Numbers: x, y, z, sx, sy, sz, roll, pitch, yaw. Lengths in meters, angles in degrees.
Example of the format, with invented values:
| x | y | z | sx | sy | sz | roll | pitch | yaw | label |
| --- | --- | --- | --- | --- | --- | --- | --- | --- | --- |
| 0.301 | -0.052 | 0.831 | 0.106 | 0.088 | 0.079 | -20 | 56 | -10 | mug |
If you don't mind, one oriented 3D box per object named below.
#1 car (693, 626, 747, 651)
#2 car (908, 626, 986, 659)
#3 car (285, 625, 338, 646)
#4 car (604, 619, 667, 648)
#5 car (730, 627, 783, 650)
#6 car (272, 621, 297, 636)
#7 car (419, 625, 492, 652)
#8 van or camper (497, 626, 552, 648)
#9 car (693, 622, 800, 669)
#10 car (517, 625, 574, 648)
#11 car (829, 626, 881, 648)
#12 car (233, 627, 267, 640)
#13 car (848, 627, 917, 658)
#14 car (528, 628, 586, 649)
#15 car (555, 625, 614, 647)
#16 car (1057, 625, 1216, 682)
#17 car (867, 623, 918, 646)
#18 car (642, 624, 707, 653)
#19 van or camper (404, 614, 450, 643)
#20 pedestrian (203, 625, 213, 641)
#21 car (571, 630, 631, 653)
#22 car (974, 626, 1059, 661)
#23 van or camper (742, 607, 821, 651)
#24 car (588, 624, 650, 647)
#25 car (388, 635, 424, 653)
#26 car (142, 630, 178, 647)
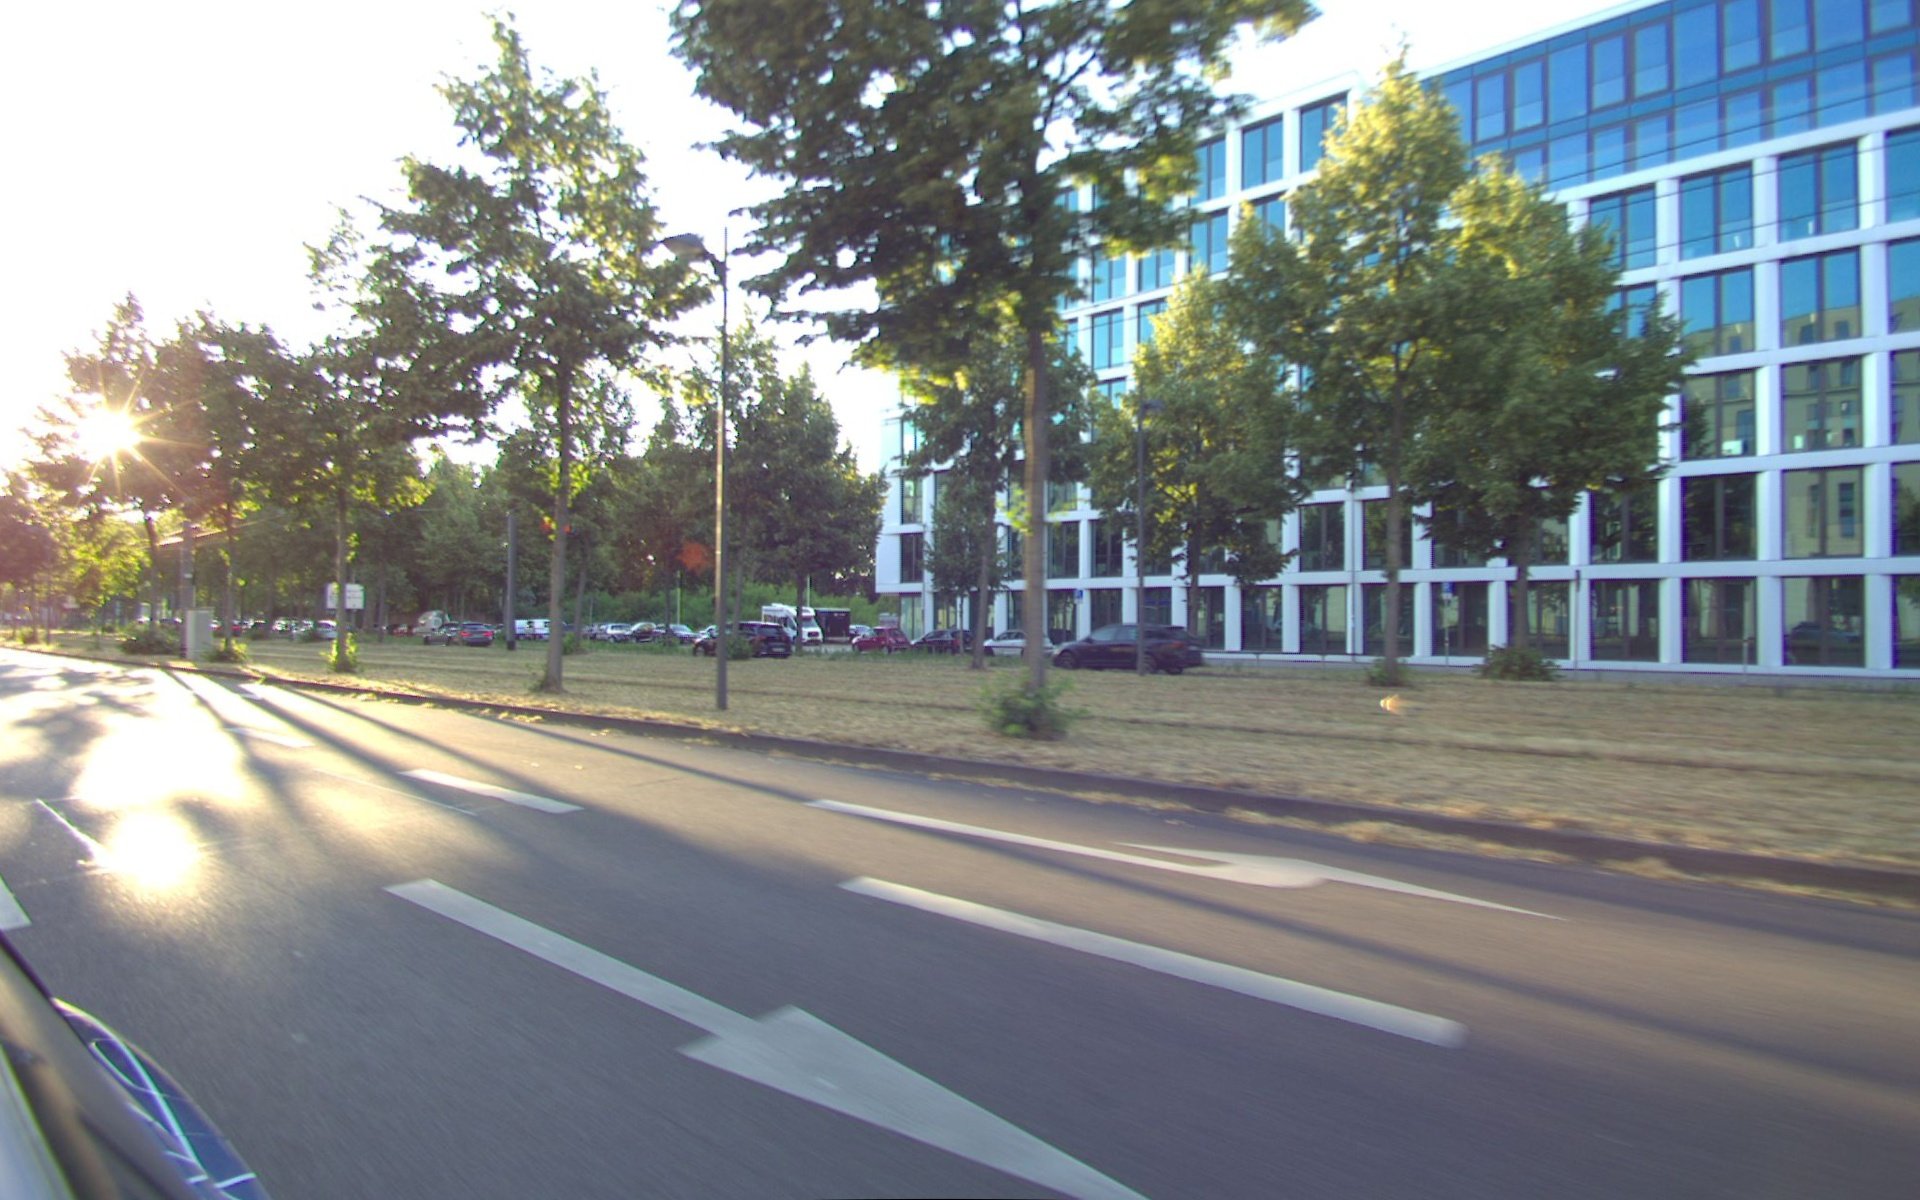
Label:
| x | y | z | sx | sy | sz | roll | pitch | yaw | label |
| --- | --- | --- | --- | --- | --- | --- | --- | --- | --- |
| -16.926 | 2.693 | 71.284 | 4.002 | 1.652 | 1.894 | -2 | -2 | 45 | car |
| -0.659 | 2.099 | 50.866 | 3.664 | 1.594 | 1.840 | -2 | -2 | 42 | car |
| -42.946 | 2.346 | 66.949 | 4.526 | 1.342 | 1.640 | -1 | -2 | 40 | car |
| -23.635 | 2.425 | 73.894 | 1.997 | 2.029 | 3.949 | -1 | -2 | 38 | car |
| -14.780 | 2.785 | 73.465 | 4.002 | 1.652 | 1.894 | -2 | -2 | 45 | car |
| -94.118 | 4.026 | 140.986 | 5.060 | 2.029 | 1.971 | -2 | -2 | 45 | car |
| -26.109 | 1.982 | 52.317 | 4.737 | 1.342 | 1.640 | -1 | -2 | 40 | car |
| -37.244 | 3.180 | 86.586 | 1.993 | 1.805 | 3.958 | -1 | -2 | 31 | van or camper |
| -7.548 | 1.578 | 35.659 | 3.724 | 1.559 | 1.784 | -2 | -2 | 40 | car |
| -34.701 | 3.011 | 84.817 | 2.011 | 1.858 | 3.945 | -2 | -2 | 41 | car |
| -8.038 | 2.812 | 77.397 | 4.002 | 1.652 | 1.894 | -2 | -2 | 45 | car |
| -77.028 | 3.595 | 109.779 | 5.141 | 1.325 | 1.972 | -1 | -2 | 42 | car |
| -4.170 | 2.247 | 54.224 | 3.491 | 1.594 | 1.840 | -2 | -2 | 42 | car |
| -32.878 | 3.135 | 82.632 | 3.938 | 1.652 | 1.924 | 1 | -2 | -42 | car |
| -29.101 | 2.796 | 78.511 | 1.919 | 1.652 | 3.949 | -2 | -2 | 37 | car |
| 4.956 | 1.475 | 28.766 | 4.186 | 1.513 | 1.640 | -2 | -2 | 40 | car |
| -5.425 | 2.753 | 81.020 | 4.001 | 1.825 | 1.894 | -2 | -2 | 44 | car |
| -20.146 | 2.698 | 71.338 | 4.929 | 2.029 | 1.973 | -1 | -2 | 41 | car |
| -52.557 | 2.793 | 99.754 | 5.490 | 2.756 | 2.064 | -1 | -2 | 40 | van or camper |
| -83.564 | 3.640 | 112.459 | 0.865 | 1.756 | 0.686 | -1 | -2 | 39 | pedestrian |
| -27.341 | 3.153 | 77.132 | 1.919 | 1.652 | 3.949 | -2 | -2 | 37 | car |
| 2.672 | 2.055 | 48.333 | 3.783 | 1.594 | 1.840 | -2 | -2 | 42 | car |
| -13.377 | 2.161 | 75.591 | 2.679 | 3.109 | 6.265 | 1 | -2 | -45 | van or camper |
| -25.285 | 2.643 | 75.131 | 1.919 | 1.652 | 3.949 | -2 | -2 | 37 | car |
| -56.596 | 4.446 | 103.354 | 3.997 | 1.763 | 1.973 | -1 | -2 | 41 | car |
| -75.740 | 3.623 | 95.829 | 4.178 | 1.590 | 1.866 | -1 | -2 | 40 | car |
